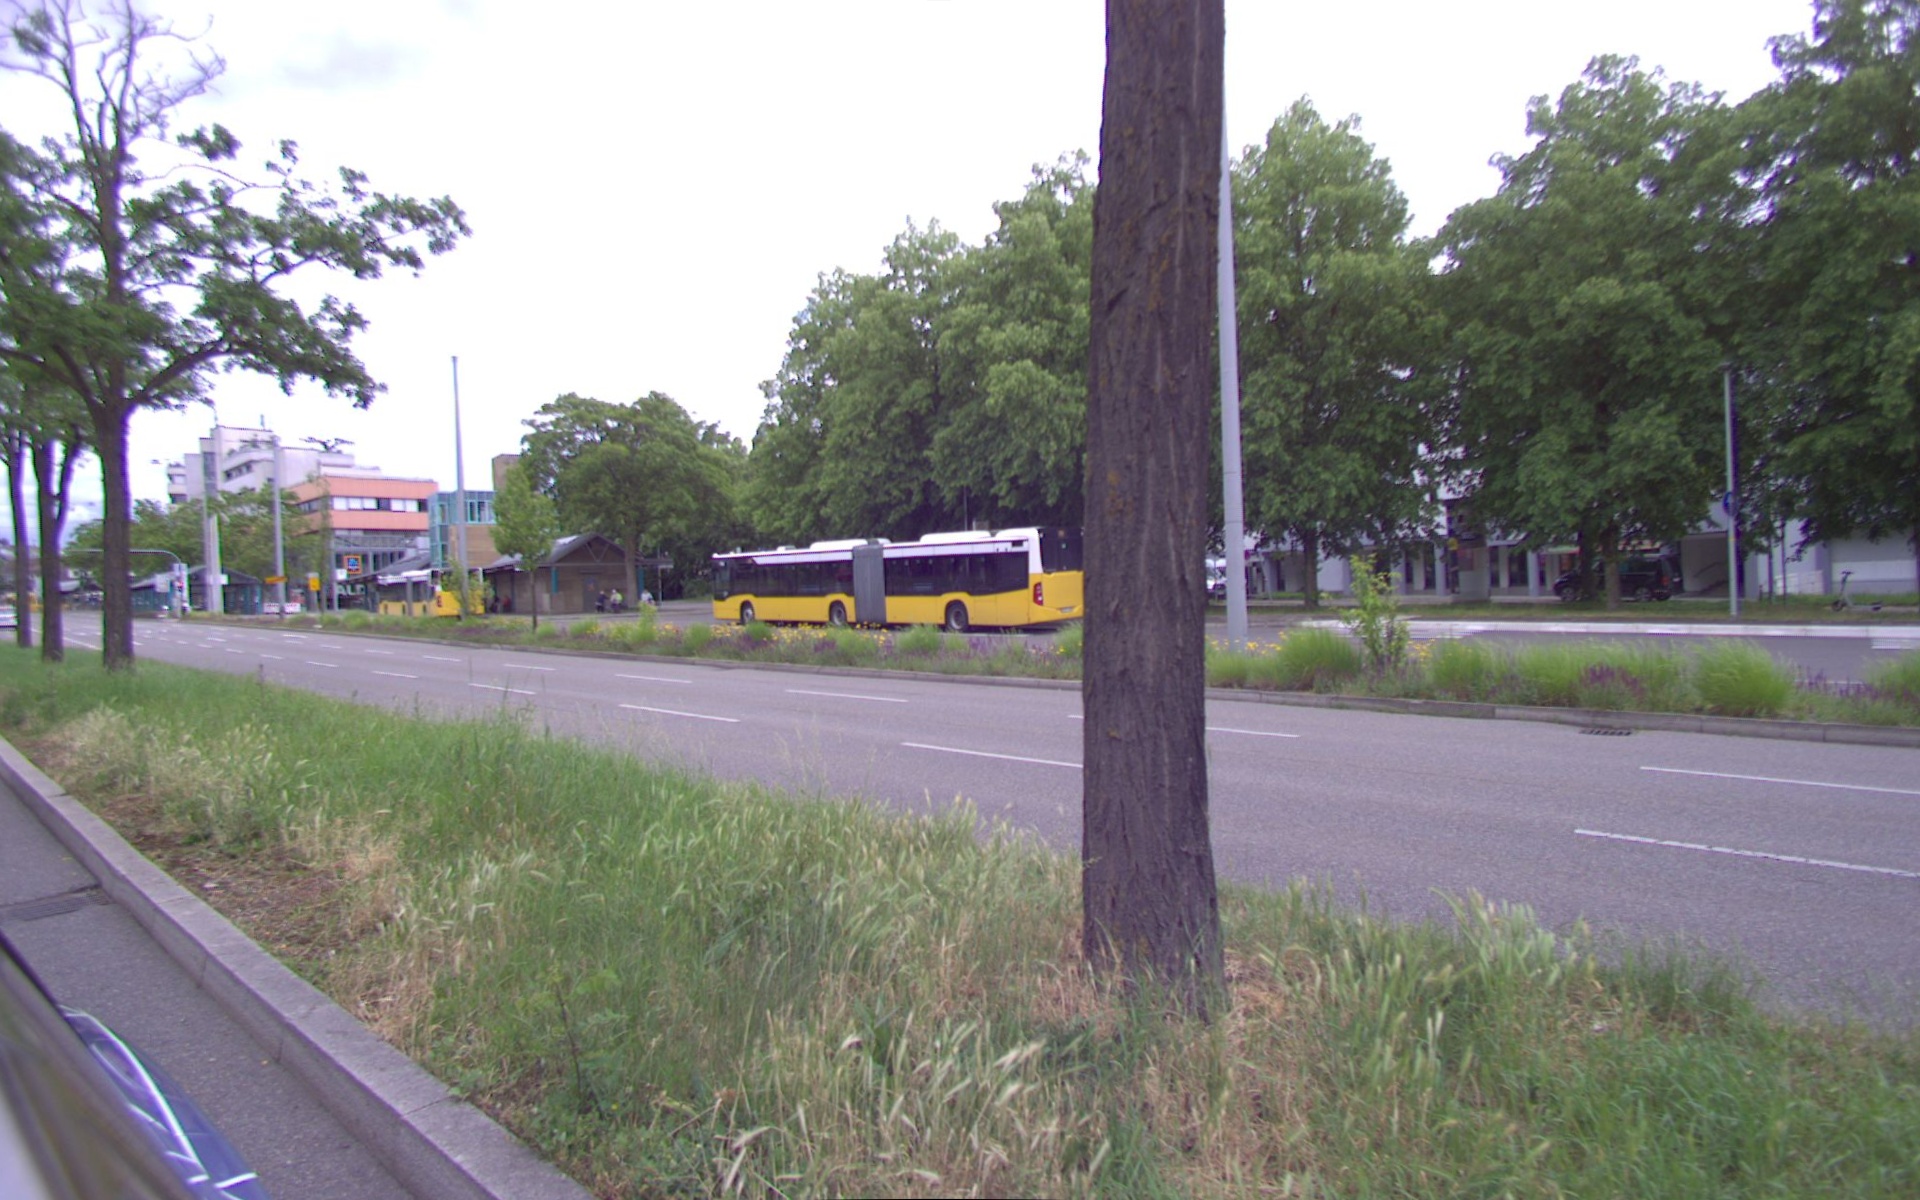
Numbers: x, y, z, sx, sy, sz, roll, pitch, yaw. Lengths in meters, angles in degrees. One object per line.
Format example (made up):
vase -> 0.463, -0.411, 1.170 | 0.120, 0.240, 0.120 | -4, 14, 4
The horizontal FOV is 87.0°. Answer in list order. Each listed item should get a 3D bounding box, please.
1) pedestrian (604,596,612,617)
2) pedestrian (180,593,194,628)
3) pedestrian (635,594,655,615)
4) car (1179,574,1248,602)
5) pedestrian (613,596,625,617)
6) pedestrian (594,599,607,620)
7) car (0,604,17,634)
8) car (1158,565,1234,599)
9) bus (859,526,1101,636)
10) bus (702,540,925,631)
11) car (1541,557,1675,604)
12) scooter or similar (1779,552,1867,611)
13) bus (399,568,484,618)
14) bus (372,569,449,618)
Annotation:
pedestrian -> -19.402, 0.365, 55.817 | 0.361, 1.175, 0.900 | -1, 0, -23
pedestrian -> -63.625, 0.841, 83.324 | 0.889, 2.809, 1.150 | -1, 0, -36
pedestrian -> -17.589, 0.247, 56.525 | 0.925, 1.180, 0.641 | 0, 0, 42
car -> 15.663, -0.729, 62.669 | 1.751, 1.652, 4.012 | -1, 0, -31
pedestrian -> -18.892, 0.356, 56.035 | 0.589, 1.171, 0.745 | -1, 0, -23
pedestrian -> -20.516, 0.514, 57.682 | 0.589, 1.171, 0.745 | -1, 0, -28
car -> -65.582, 1.304, 68.920 | 4.001, 2.029, 1.703 | -1, 1, 44
car -> 13.015, -0.970, 56.049 | 1.663, 1.763, 4.010 | -2, 1, -35
bus -> 0.398, -0.506, 31.740 | 2.848, 3.025, 7.890 | -2, 0, -43
bus -> -5.873, -0.441, 38.400 | 2.848, 3.025, 10.402 | -2, 0, -43
car -> 27.312, -0.807, 42.798 | 1.758, 1.861, 4.429 | -2, 0, -34
scooter or similar -> 25.350, -0.541, 29.762 | 1.840, 1.676, 0.647 | -1, 0, 29
bus -> -31.381, -0.374, 60.997 | 2.845, 2.830, 9.194 | -2, 0, -38
bus -> -36.950, -0.379, 67.846 | 2.846, 3.025, 9.192 | -2, 0, -39
